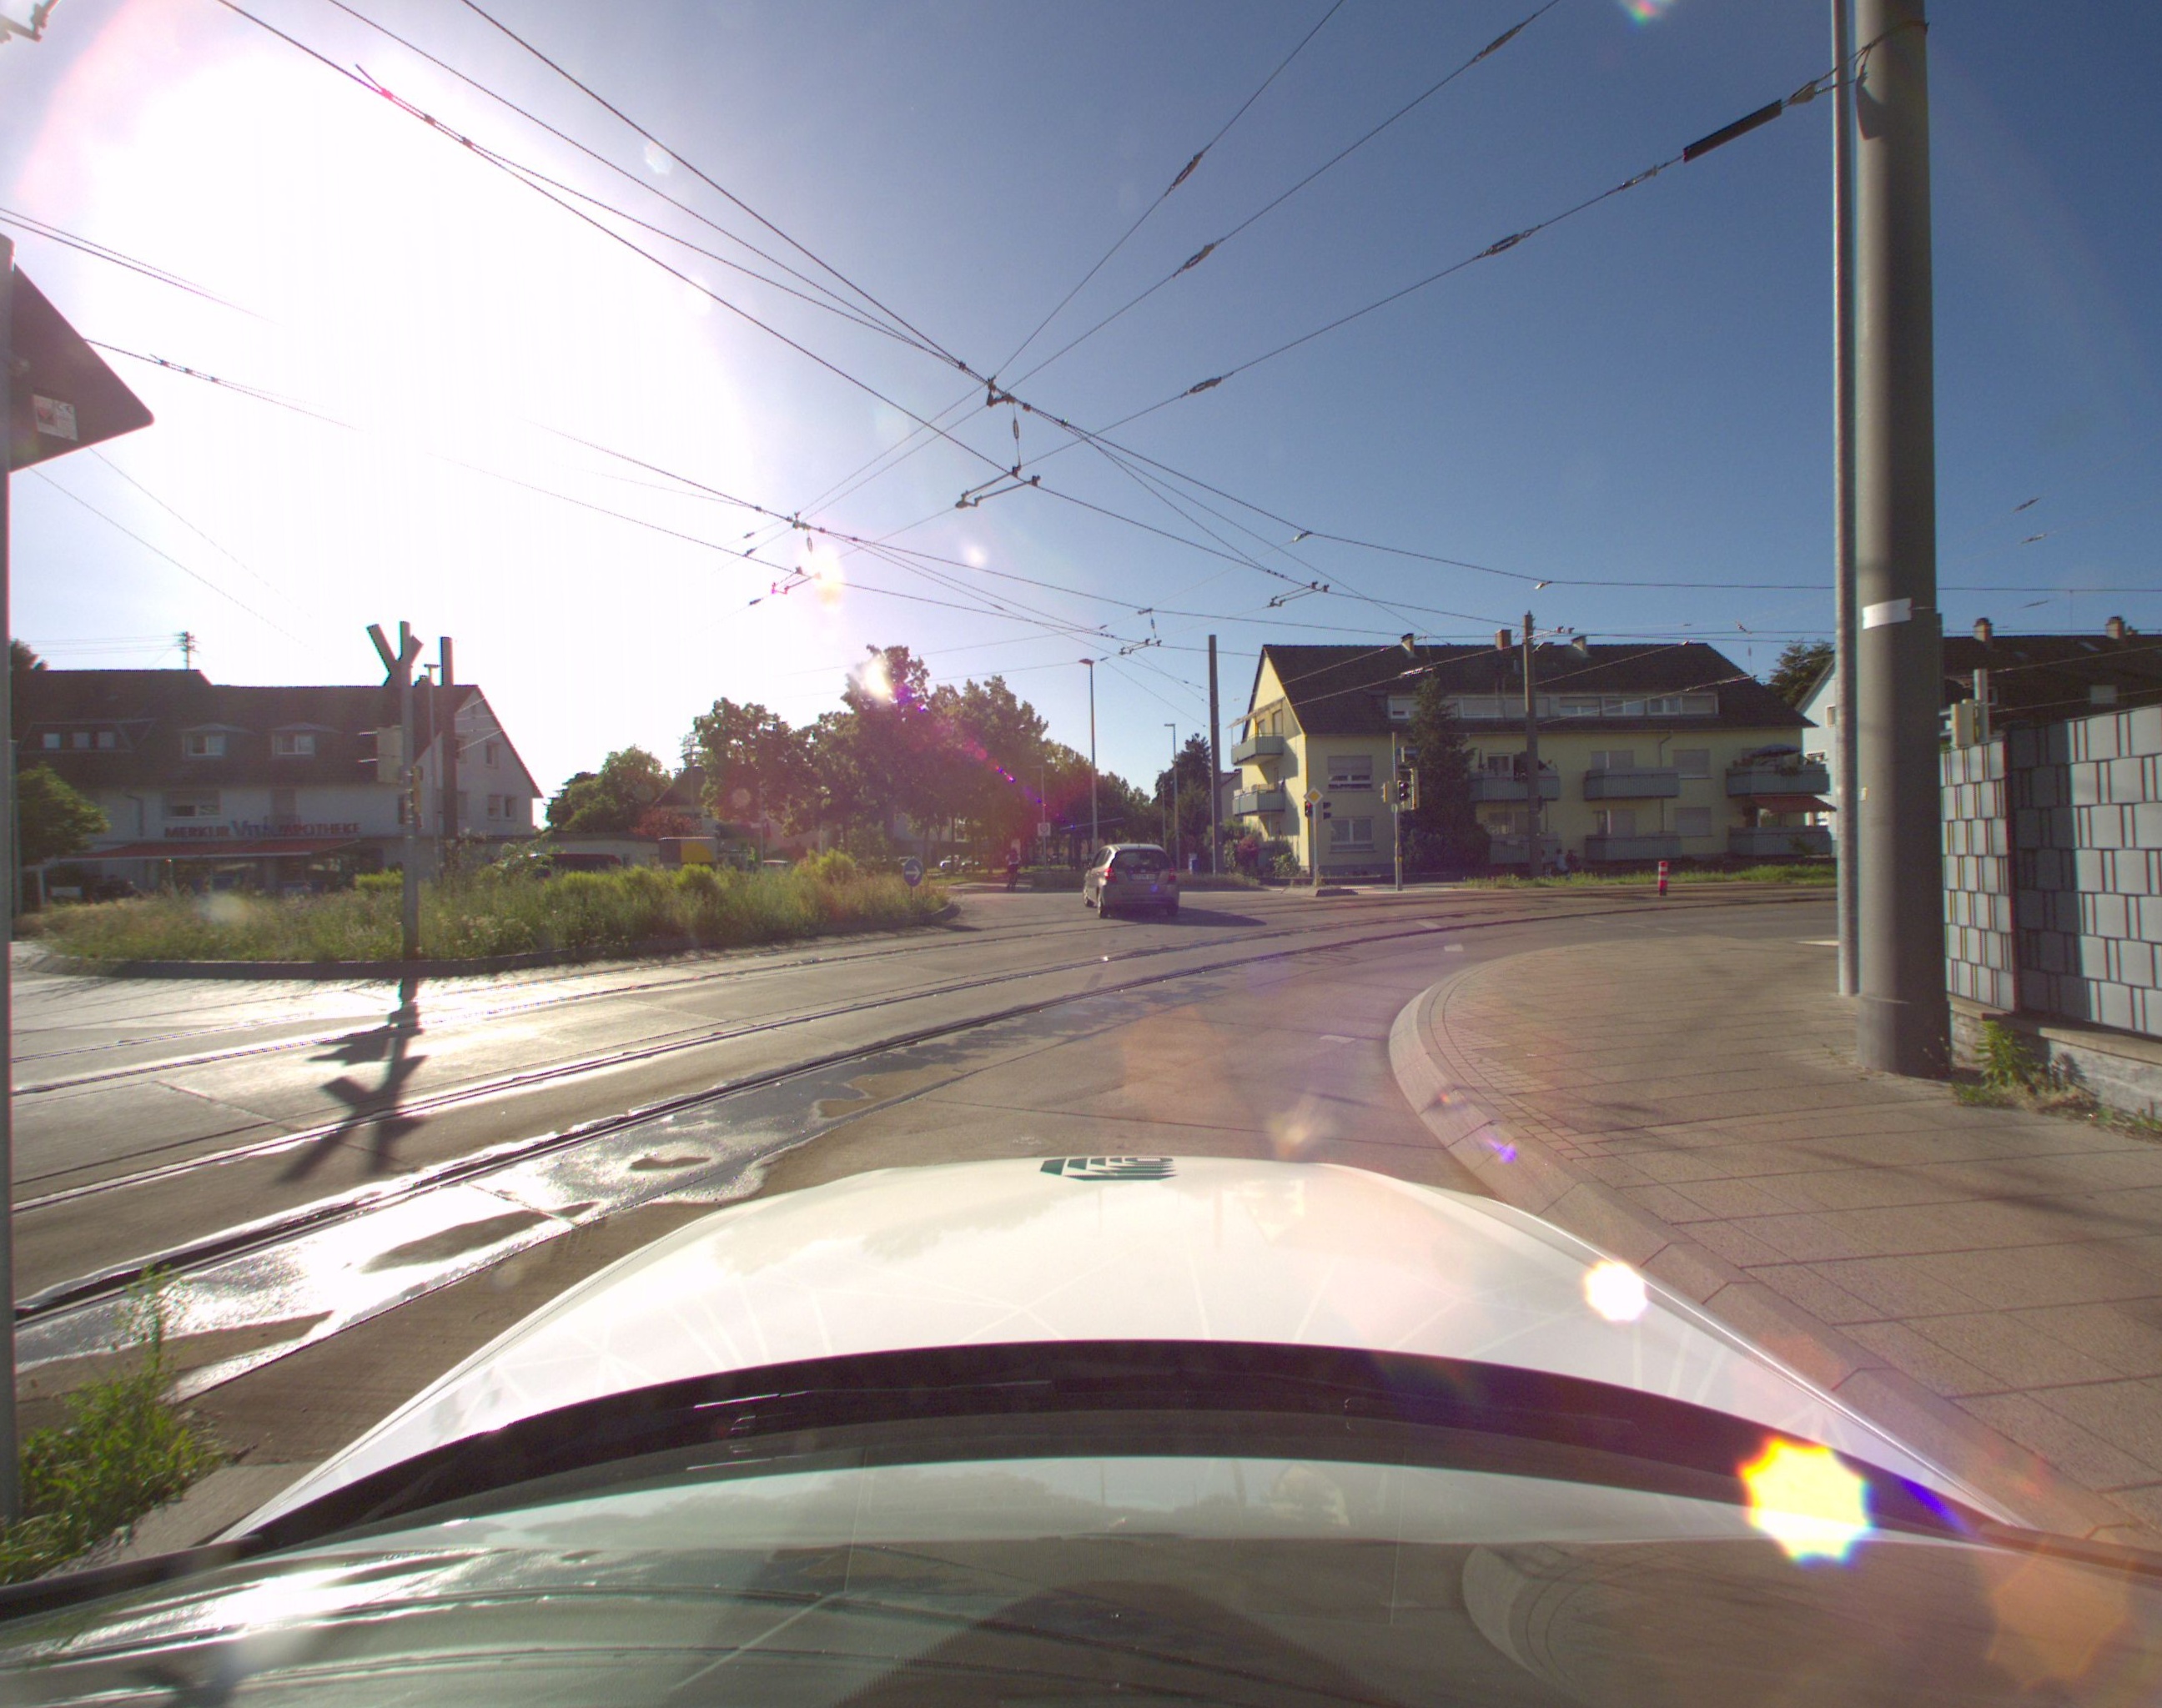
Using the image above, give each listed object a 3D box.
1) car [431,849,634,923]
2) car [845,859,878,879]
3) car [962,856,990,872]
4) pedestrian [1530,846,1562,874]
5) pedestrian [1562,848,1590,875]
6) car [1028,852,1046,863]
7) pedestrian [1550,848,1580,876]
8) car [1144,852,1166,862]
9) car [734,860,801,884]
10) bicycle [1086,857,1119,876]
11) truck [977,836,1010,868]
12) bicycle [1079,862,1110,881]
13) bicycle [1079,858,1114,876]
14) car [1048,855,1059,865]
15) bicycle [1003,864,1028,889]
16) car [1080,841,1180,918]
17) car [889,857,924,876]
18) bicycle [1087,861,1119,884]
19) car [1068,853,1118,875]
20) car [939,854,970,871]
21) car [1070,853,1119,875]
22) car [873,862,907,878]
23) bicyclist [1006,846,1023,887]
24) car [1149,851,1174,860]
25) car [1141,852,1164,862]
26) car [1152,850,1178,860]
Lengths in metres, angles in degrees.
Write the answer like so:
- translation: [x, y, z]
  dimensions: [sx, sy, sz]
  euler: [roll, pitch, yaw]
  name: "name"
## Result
- translation: [-18.378, 1.012, 27.619]
  dimensions: [1.974, 1.981, 5.272]
  euler: [-3, 2, 30]
  name: "car"
- translation: [-16.861, 1.096, 62.746]
  dimensions: [1.796, 1.464, 3.796]
  euler: [0, 0, -4]
  name: "car"
- translation: [-10.514, 0.962, 81.741]
  dimensions: [1.821, 1.580, 4.449]
  euler: [0, 0, 7]
  name: "car"
- translation: [17.715, 0.217, 31.048]
  dimensions: [0.685, 1.046, 0.818]
  euler: [-1, 0, -6]
  name: "pedestrian"
- translation: [19.143, 0.287, 31.477]
  dimensions: [0.596, 1.006, 0.718]
  euler: [0, 0, -27]
  name: "pedestrian"
- translation: [-6.913, 0.536, 128.364]
  dimensions: [1.982, 1.699, 4.228]
  euler: [0, 0, 8]
  name: "car"
- translation: [18.552, 0.305, 31.201]
  dimensions: [0.629, 1.064, 0.811]
  euler: [0, 0, -36]
  name: "pedestrian"
- translation: [12.272, 0.491, 134.874]
  dimensions: [3.502, 1.533, 1.579]
  euler: [0, 0, 3]
  name: "car"
- translation: [-22.844, 1.290, 59.390]
  dimensions: [4.019, 1.694, 2.003]
  euler: [0, 0, 4]
  name: "car"
- translation: [1.188, 0.694, 45.667]
  dimensions: [1.835, 1.027, 0.689]
  euler: [0, 0, 0]
  name: "bicycle"
- translation: [-11.552, -0.308, 107.792]
  dimensions: [3.056, 3.993, 8.016]
  euler: [0, 0, 3]
  name: "truck"
- translation: [0.724, 0.951, 44.155]
  dimensions: [1.684, 1.027, 0.599]
  euler: [0, 0, 0]
  name: "bicycle"
- translation: [0.901, 0.724, 46.571]
  dimensions: [1.967, 1.027, 0.696]
  euler: [0, 0, 0]
  name: "bicycle"
- translation: [-4.694, 1.073, 140.966]
  dimensions: [1.640, 1.648, 3.572]
  euler: [0, 0, 3]
  name: "car"
- translation: [-2.819, 0.992, 34.932]
  dimensions: [0.768, 1.037, 1.525]
  euler: [0, -2, -17]
  name: "bicycle"
- translation: [0.988, 0.475, 18.433]
  dimensions: [1.685, 1.490, 3.908]
  euler: [-2, 1, -5]
  name: "car"
- translation: [-15.730, 1.114, 73.700]
  dimensions: [1.985, 1.699, 4.222]
  euler: [0, 0, 3]
  name: "car"
- translation: [1.138, 0.986, 42.868]
  dimensions: [1.660, 1.208, 0.689]
  euler: [0, 0, 0]
  name: "bicycle"
- translation: [0.890, 0.725, 58.216]
  dimensions: [3.501, 1.533, 1.579]
  euler: [0, 0, 4]
  name: "car"
- translation: [-13.947, 0.933, 90.196]
  dimensions: [1.983, 1.773, 5.070]
  euler: [0, 0, 7]
  name: "car"
- translation: [1.013, 0.728, 59.975]
  dimensions: [3.501, 1.533, 1.579]
  euler: [0, 0, 4]
  name: "car"
- translation: [-16.093, 1.324, 68.895]
  dimensions: [1.955, 1.324, 3.999]
  euler: [0, 0, -1]
  name: "car"
- translation: [-2.862, 0.528, 35.007]
  dimensions: [0.604, 1.714, 0.541]
  euler: [-1, -4, -17]
  name: "bicyclist"
- translation: [11.296, 0.173, 114.299]
  dimensions: [3.502, 1.279, 1.579]
  euler: [0, 0, 3]
  name: "car"
- translation: [10.872, 0.500, 124.287]
  dimensions: [3.502, 1.533, 1.579]
  euler: [0, 0, 3]
  name: "car"
- translation: [11.751, 0.126, 113.602]
  dimensions: [3.502, 1.296, 1.579]
  euler: [0, 0, 3]
  name: "car"
